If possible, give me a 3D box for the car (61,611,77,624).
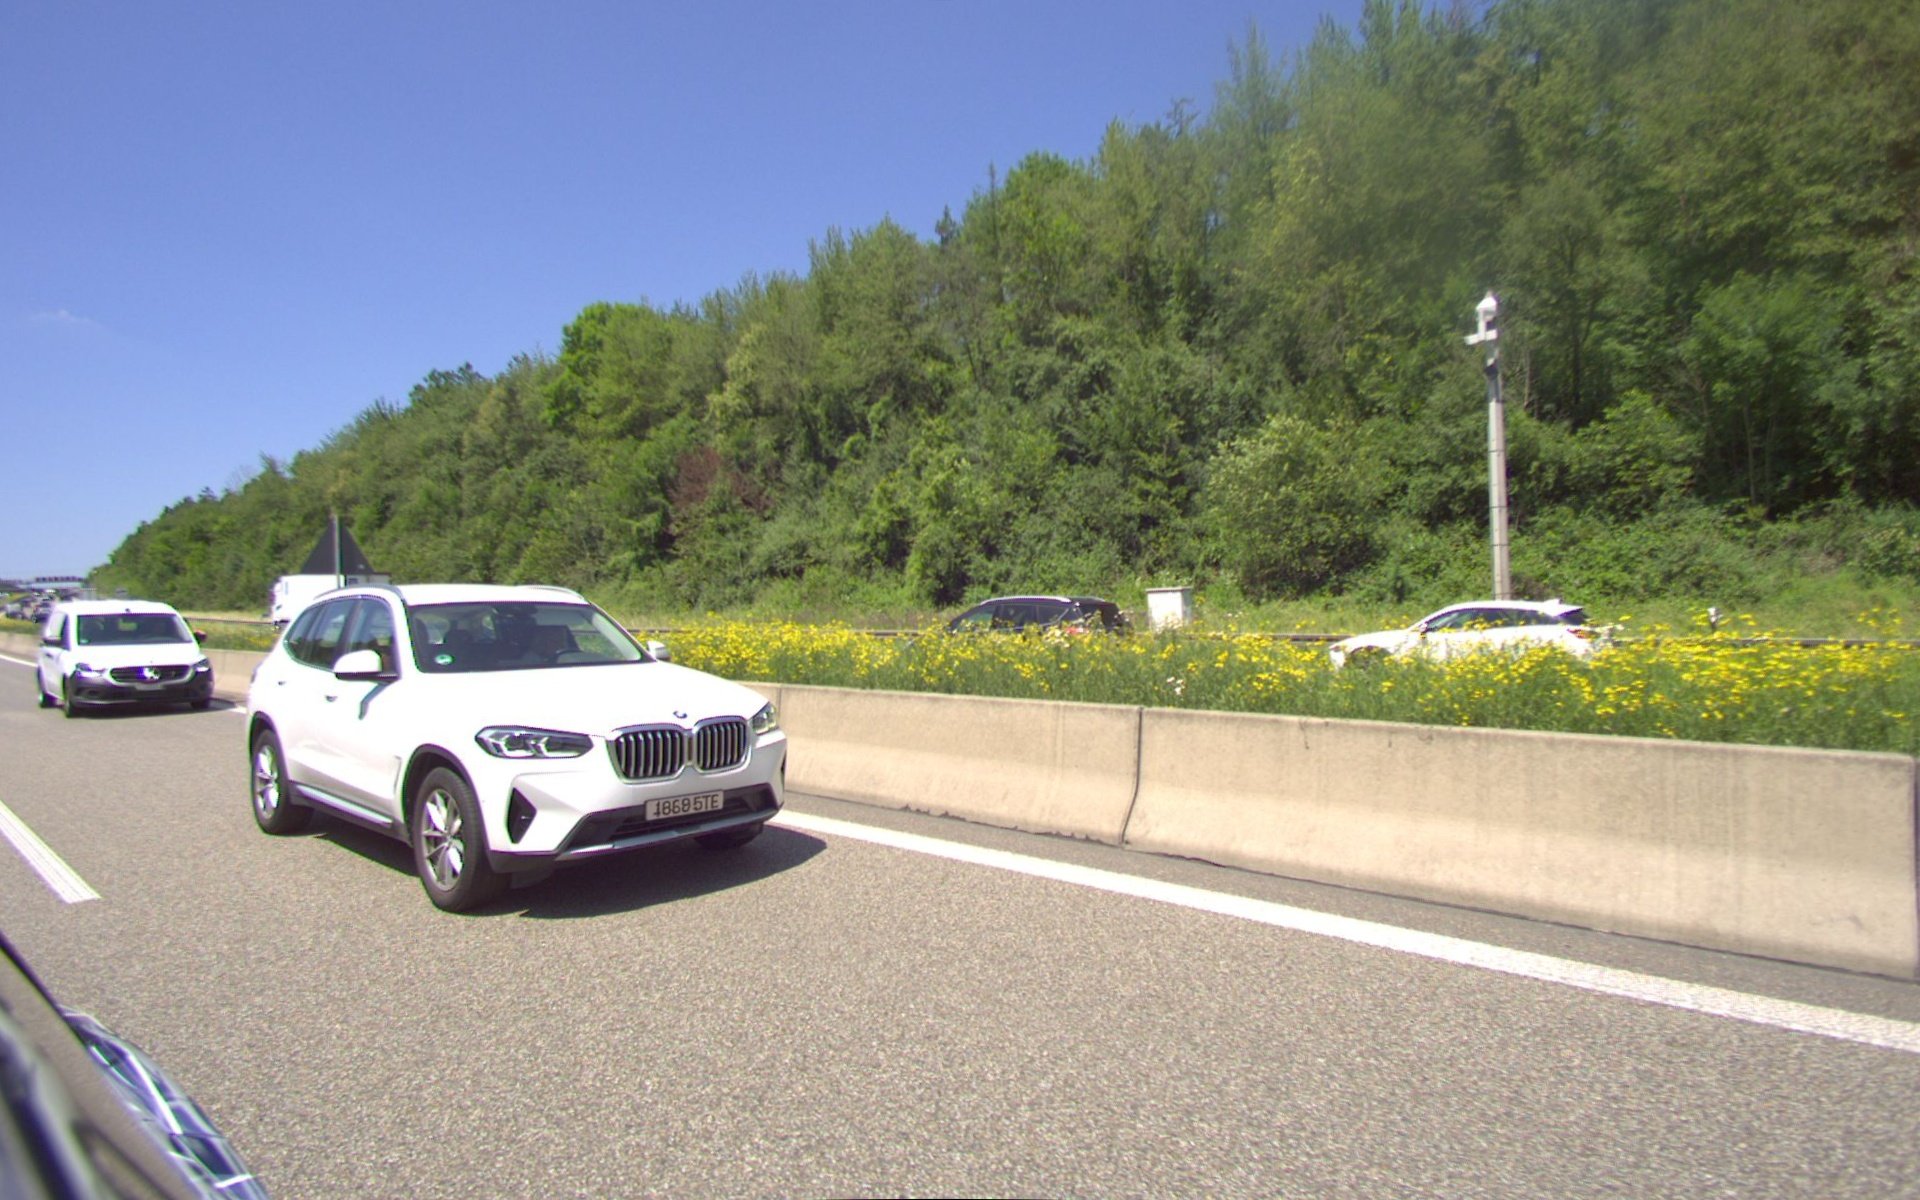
[{"bbox_3d":[-142.947,2.833,162.320,4.002,2.029,1.614,0,0,45],"label":"car"}]

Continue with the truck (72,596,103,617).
[{"bbox_3d":[-177.488,1.274,205.714,13.798,4.226,3.668,0,0,44],"label":"truck"}]

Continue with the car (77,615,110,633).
[{"bbox_3d":[-83.079,2.298,96.977,3.979,1.654,1.928,-2,-1,42],"label":"car"}]

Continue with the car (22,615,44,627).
[{"bbox_3d":[-132.284,2.981,144.372,4.000,1.763,1.972,-1,-1,43],"label":"car"}]

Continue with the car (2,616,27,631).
[{"bbox_3d":[-116.308,2.884,124.526,4.000,1.763,1.972,-1,-1,43],"label":"car"}]

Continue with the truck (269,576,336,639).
[{"bbox_3d":[-45.302,0.504,69.677,5.203,4.120,2.660,0,0,43],"label":"truck"}]

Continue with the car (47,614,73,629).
[{"bbox_3d":[-107.184,2.531,120.499,4.000,1.741,1.972,-1,-1,43],"label":"car"}]

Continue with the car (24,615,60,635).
[{"bbox_3d":[-81.019,2.197,89.342,4.079,1.691,1.972,-2,-1,42],"label":"car"}]

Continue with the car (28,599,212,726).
[{"bbox_3d":[-14.004,0.943,16.770,4.673,1.826,1.746,-2,-1,43],"label":"car"}]

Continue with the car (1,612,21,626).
[{"bbox_3d":[-144.697,2.921,154.354,4.901,2.029,1.971,0,0,43],"label":"car"}]

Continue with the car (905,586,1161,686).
[{"bbox_3d":[1.172,0.549,17.235,3.998,1.497,1.973,0,0,41],"label":"car"}]

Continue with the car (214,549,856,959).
[{"bbox_3d":[-3.049,0.690,6.556,4.953,1.707,1.845,-2,-1,41],"label":"car"}]

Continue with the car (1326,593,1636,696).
[{"bbox_3d":[8.382,0.636,16.459,4.169,1.453,1.973,0,0,41],"label":"car"}]

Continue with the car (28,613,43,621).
[{"bbox_3d":[-164.934,3.056,180.568,3.508,1.399,1.651,-2,-1,43],"label":"car"}]

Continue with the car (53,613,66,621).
[{"bbox_3d":[-162.225,3.142,182.267,3.509,1.399,1.596,-2,-1,44],"label":"car"}]

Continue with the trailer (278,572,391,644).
[{"bbox_3d":[-40.477,0.482,65.129,13.933,4.239,2.685,0,0,43],"label":"trailer"}]
